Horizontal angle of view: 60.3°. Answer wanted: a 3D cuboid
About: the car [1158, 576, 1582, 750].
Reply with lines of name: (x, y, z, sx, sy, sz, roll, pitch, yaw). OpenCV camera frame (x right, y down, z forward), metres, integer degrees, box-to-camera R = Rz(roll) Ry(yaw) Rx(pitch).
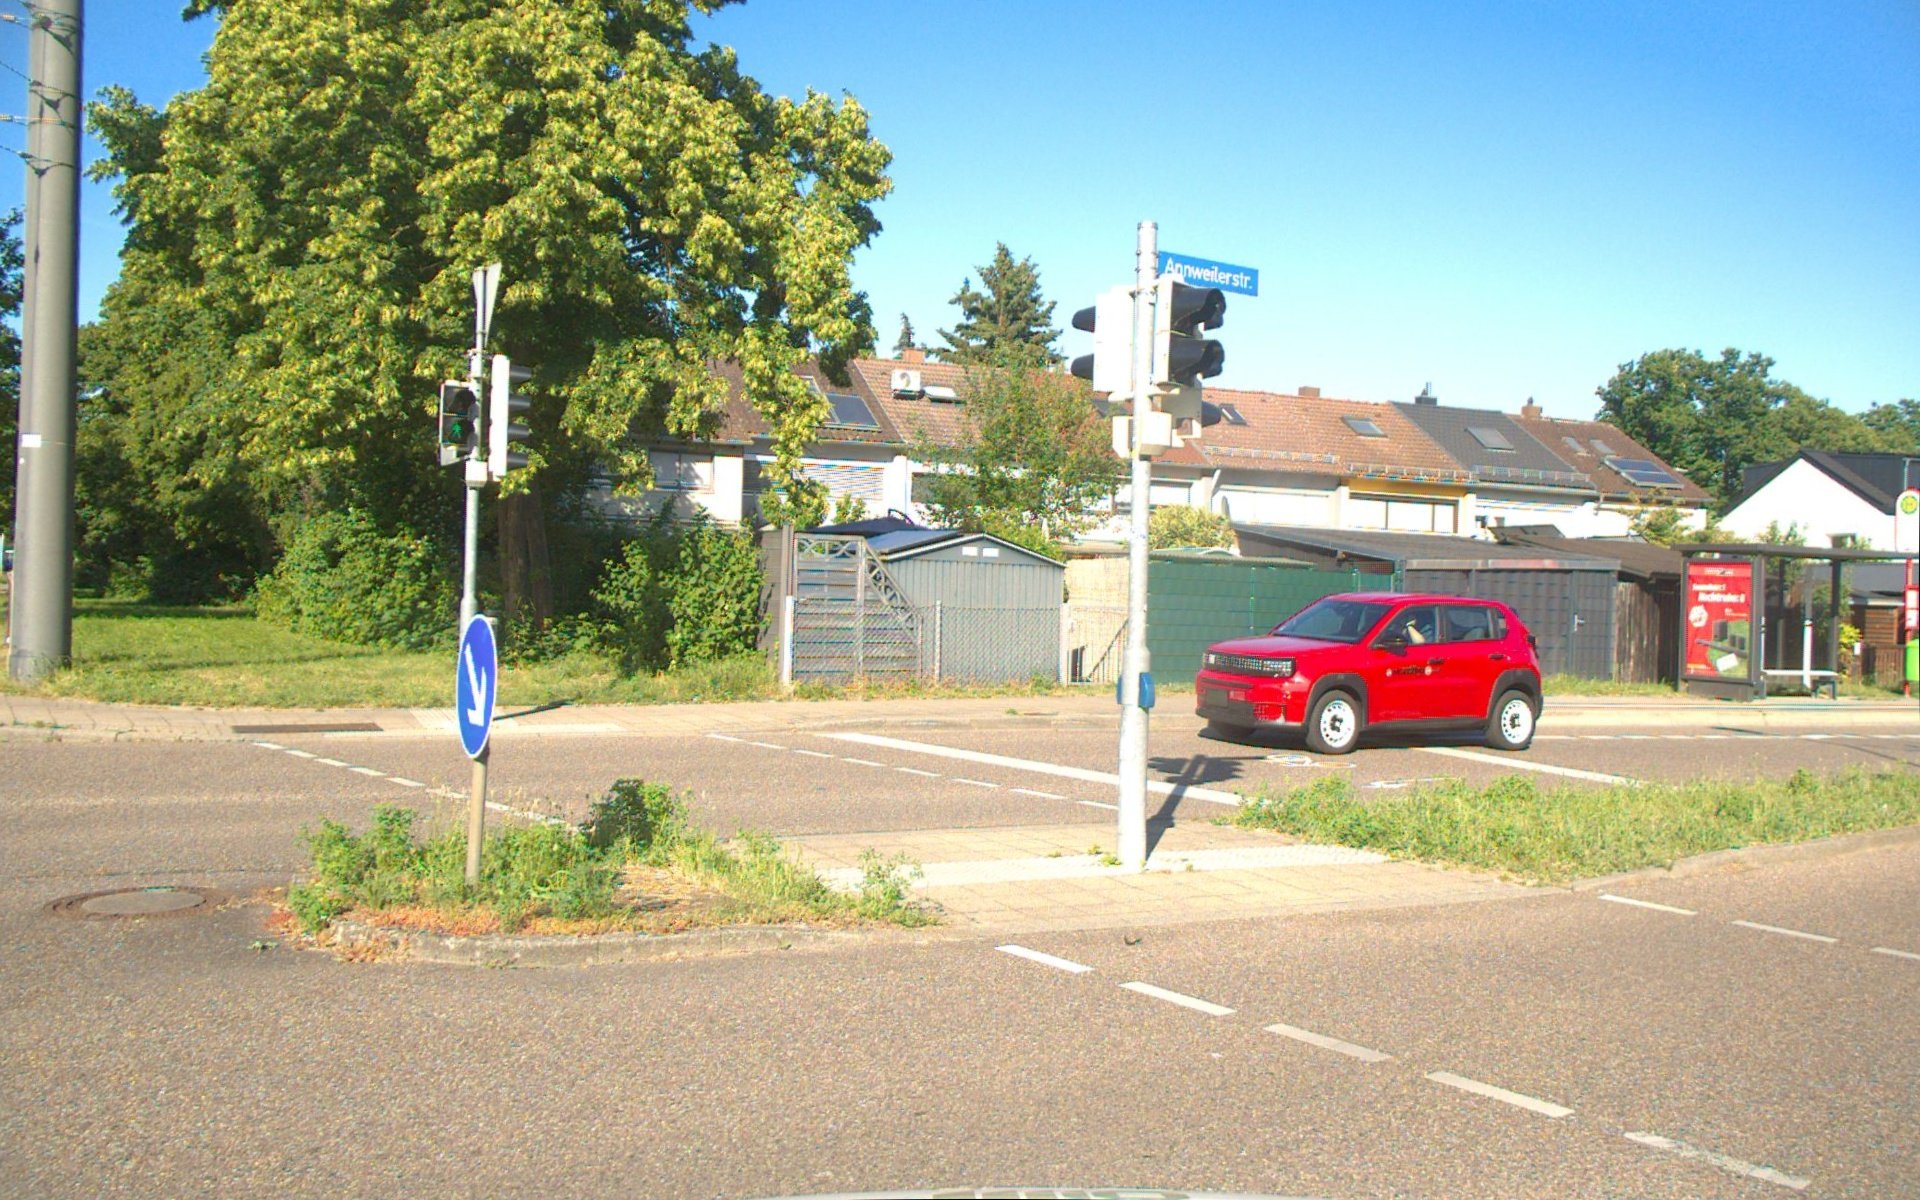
car: (4.342, 0.639, 17.448, 4.120, 1.616, 1.928, 2, 1, -29)

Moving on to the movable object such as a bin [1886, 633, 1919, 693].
movable object such as a bin: (16.709, 1.104, 28.950, 0.550, 0.984, 0.589, 2, 4, -28)
